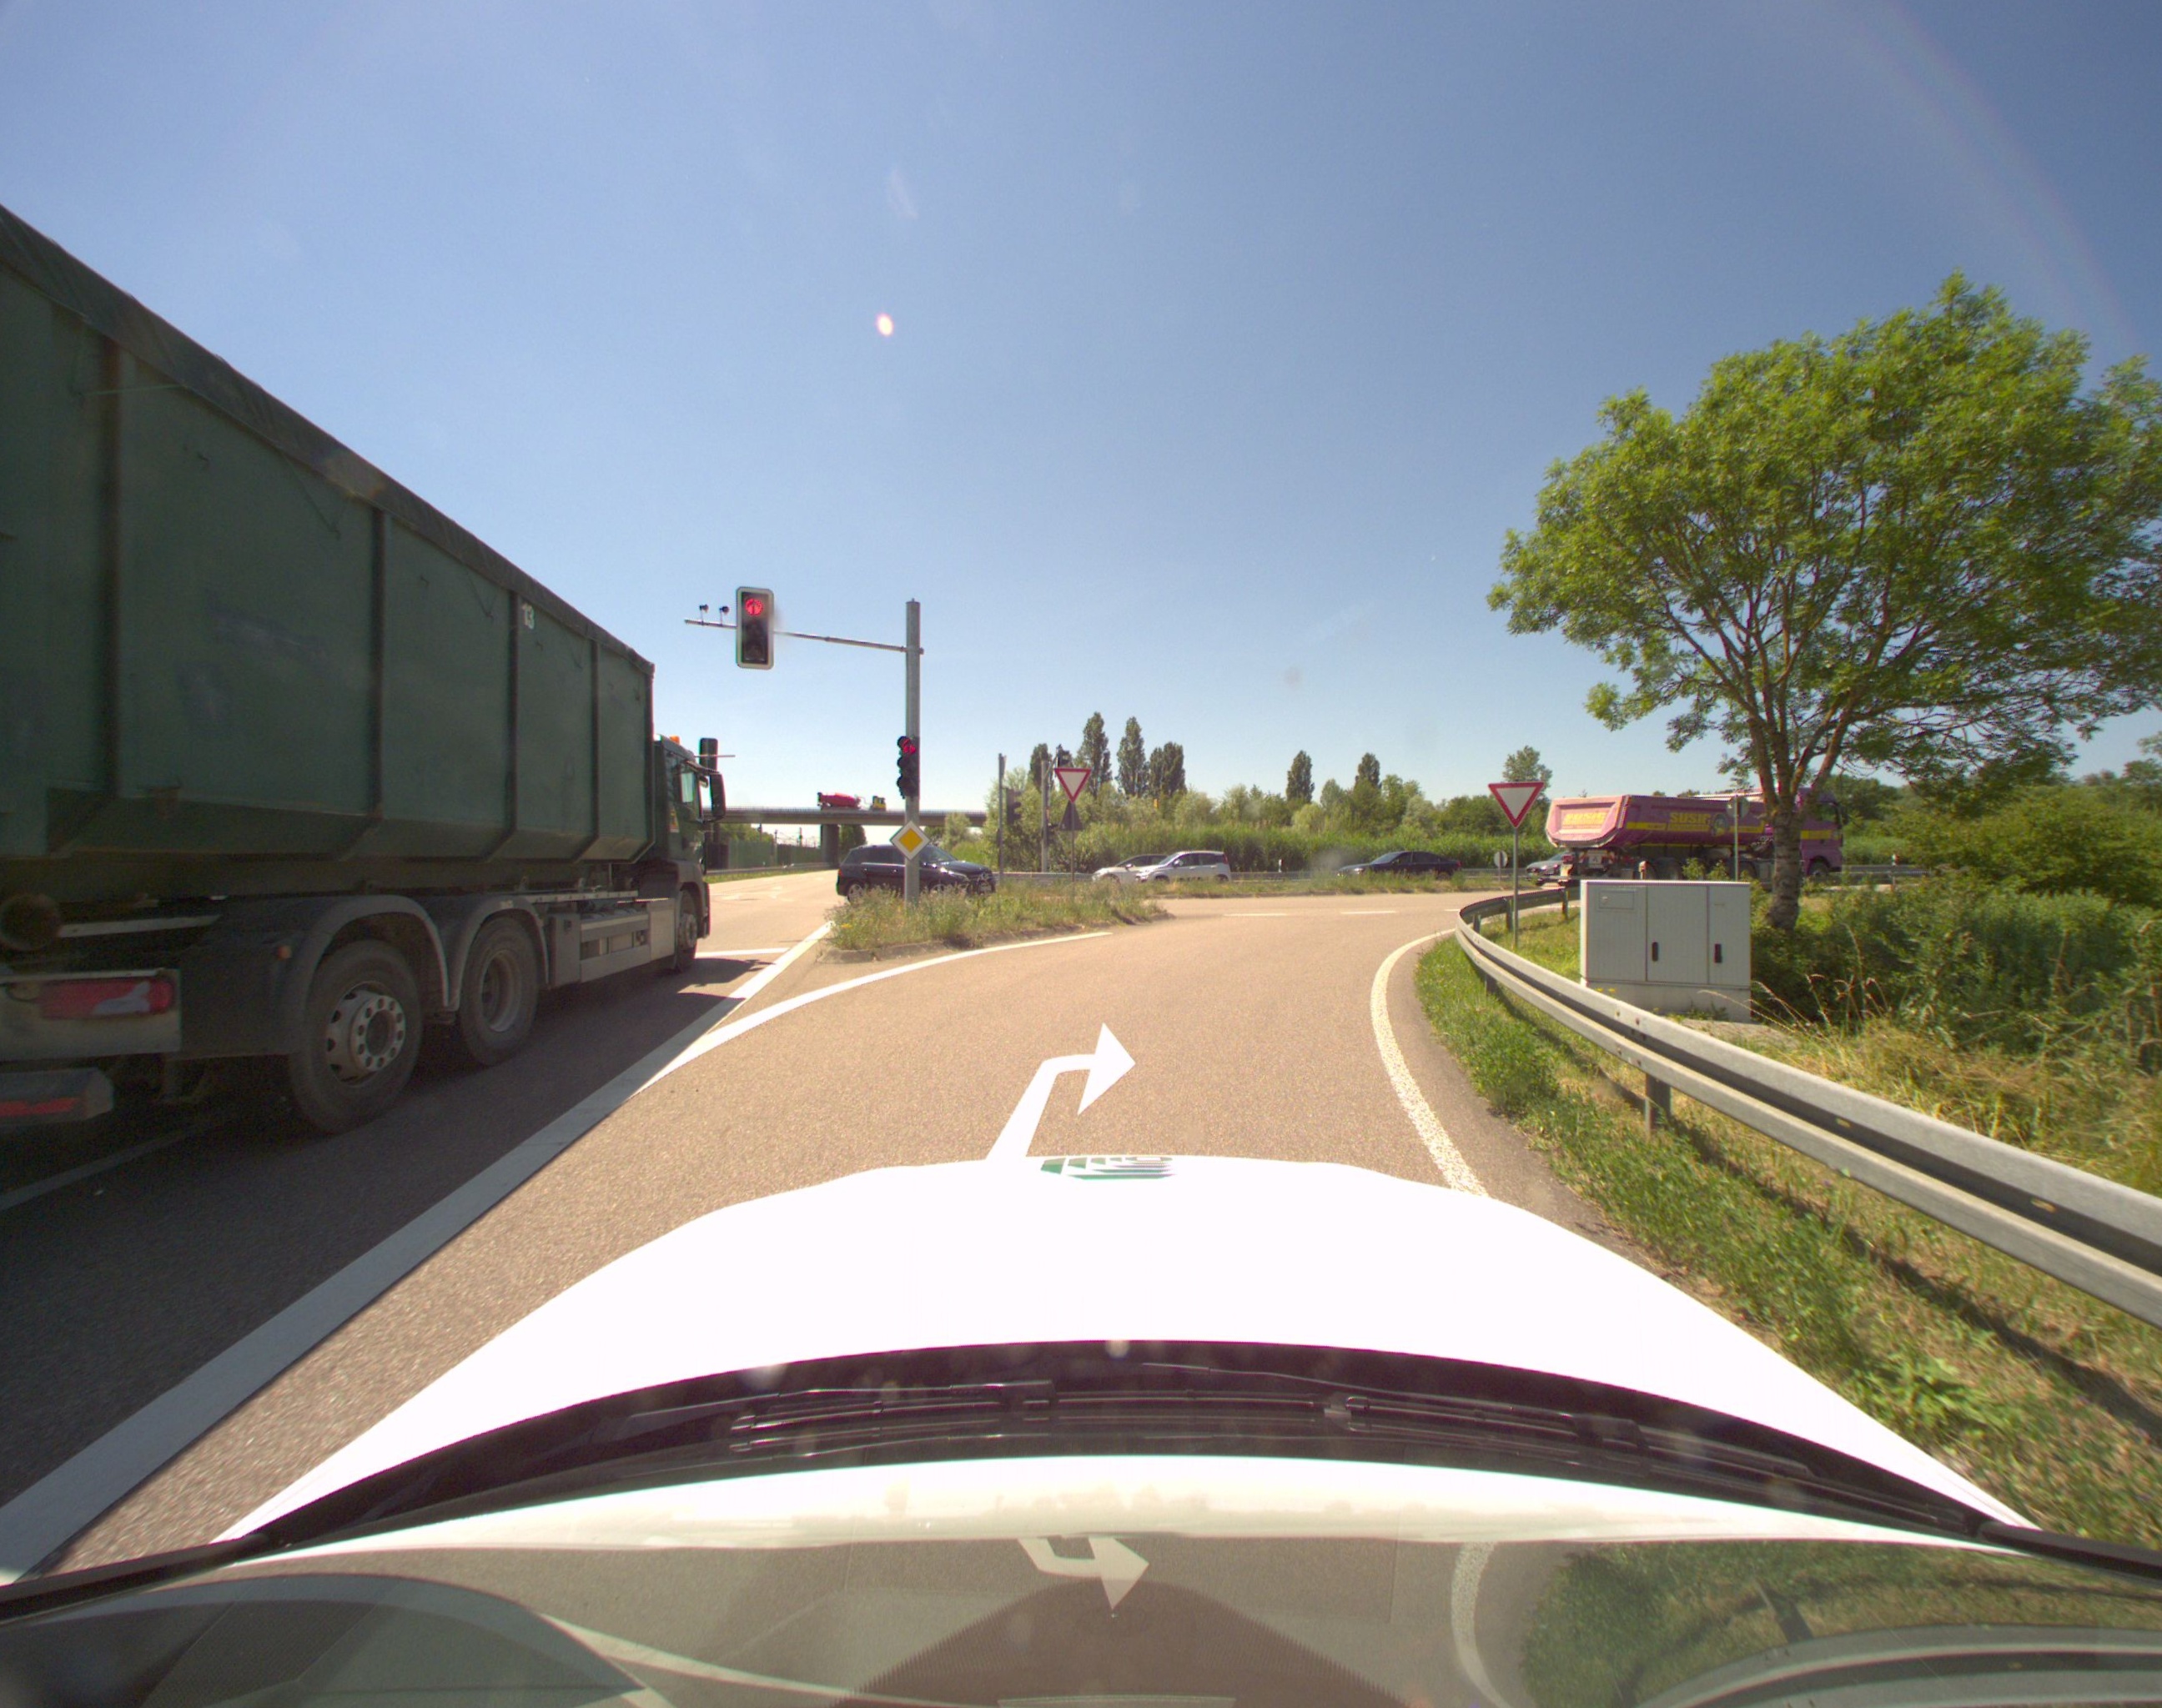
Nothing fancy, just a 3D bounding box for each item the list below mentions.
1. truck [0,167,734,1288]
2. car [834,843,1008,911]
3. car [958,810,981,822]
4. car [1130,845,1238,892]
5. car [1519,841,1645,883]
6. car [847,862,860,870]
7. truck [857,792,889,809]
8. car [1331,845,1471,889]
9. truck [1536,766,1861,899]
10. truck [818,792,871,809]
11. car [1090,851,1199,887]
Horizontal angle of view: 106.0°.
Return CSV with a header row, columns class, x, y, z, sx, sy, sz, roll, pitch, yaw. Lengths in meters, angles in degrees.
class,x,y,z,sx,sy,sz,roll,pitch,yaw
truck,-5.644,-0.436,7.080,2.590,3.737,9.543,-1,0,-10
car,-4.514,0.589,22.964,4.541,1.767,1.945,0,0,25
car,-20.844,-7.098,151.664,4.178,2.013,1.993,-1,0,-11
car,3.890,0.533,30.919,3.708,1.631,1.728,-1,0,-11
car,20.680,0.312,33.682,4.224,1.631,1.927,-1,0,-10
car,-40.269,2.090,144.197,1.995,1.398,4.389,-1,0,-11
truck,-35.560,-9.137,139.324,5.086,2.674,1.995,-1,0,-7
car,12.789,0.494,32.657,4.923,1.631,1.928,-1,0,-9
truck,20.678,-0.724,27.043,11.892,3.821,2.822,-1,0,-22
truck,-40.174,-9.046,138.560,8.499,2.674,1.992,-1,0,-11
car,2.671,0.638,34.863,4.385,1.398,1.996,-1,0,-6
